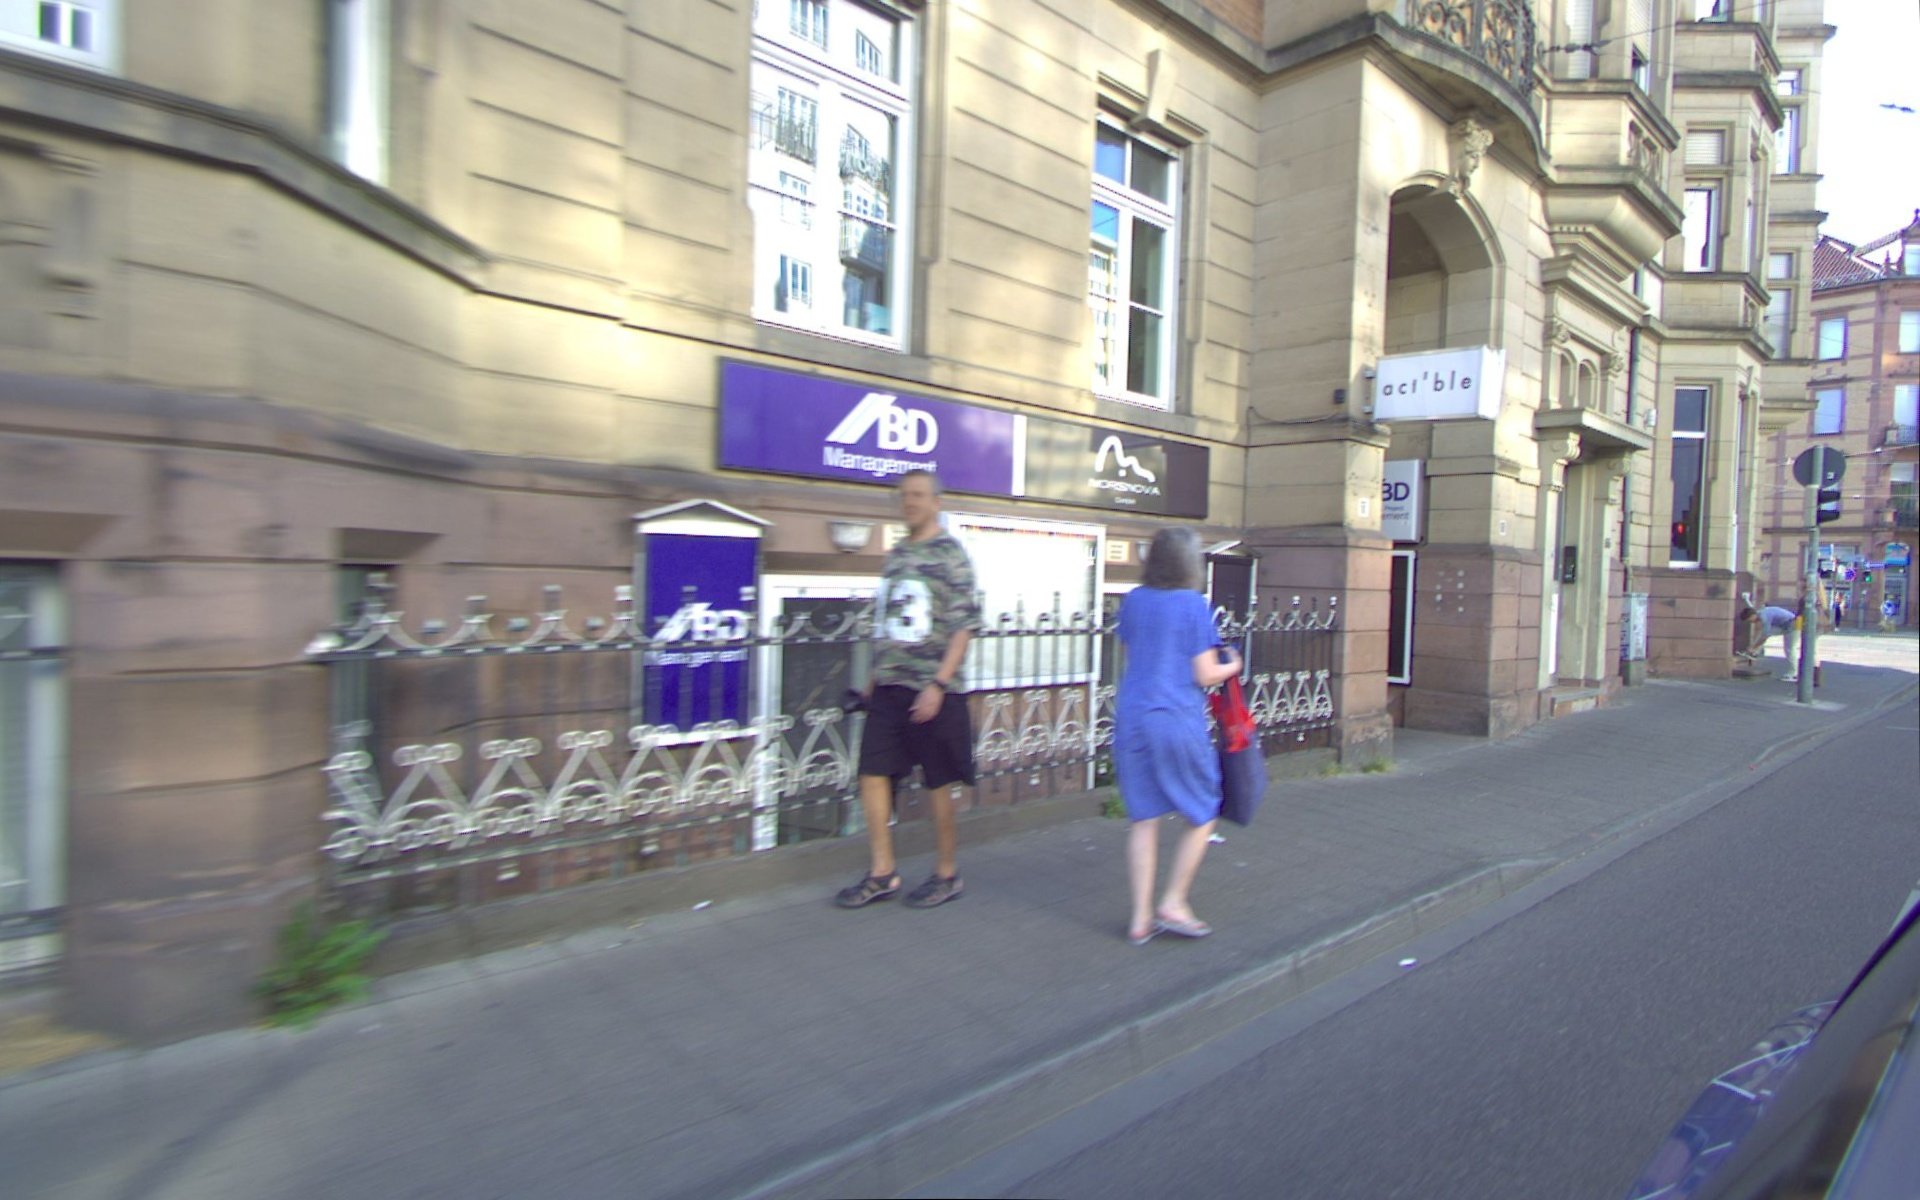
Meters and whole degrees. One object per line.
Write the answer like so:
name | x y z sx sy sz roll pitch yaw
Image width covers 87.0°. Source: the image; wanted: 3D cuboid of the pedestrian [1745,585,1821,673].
pedestrian | 13.547 0.452 16.664 0.707 1.347 0.795 -1 5 -42

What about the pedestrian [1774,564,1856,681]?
pedestrian | 13.363 0.328 15.821 0.707 1.742 0.795 -1 4 -42

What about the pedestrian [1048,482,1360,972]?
pedestrian | 0.951 0.410 3.972 0.818 1.665 0.764 1 3 -41

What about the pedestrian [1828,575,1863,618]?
pedestrian | 39.263 -0.171 44.865 1.065 1.829 1.024 0 2 -44

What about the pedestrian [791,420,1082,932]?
pedestrian | -0.109 0.253 4.193 0.783 1.846 0.802 1 3 -41

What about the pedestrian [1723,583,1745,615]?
pedestrian | 40.203 -0.061 52.574 0.749 1.589 0.745 -4 4 -34
